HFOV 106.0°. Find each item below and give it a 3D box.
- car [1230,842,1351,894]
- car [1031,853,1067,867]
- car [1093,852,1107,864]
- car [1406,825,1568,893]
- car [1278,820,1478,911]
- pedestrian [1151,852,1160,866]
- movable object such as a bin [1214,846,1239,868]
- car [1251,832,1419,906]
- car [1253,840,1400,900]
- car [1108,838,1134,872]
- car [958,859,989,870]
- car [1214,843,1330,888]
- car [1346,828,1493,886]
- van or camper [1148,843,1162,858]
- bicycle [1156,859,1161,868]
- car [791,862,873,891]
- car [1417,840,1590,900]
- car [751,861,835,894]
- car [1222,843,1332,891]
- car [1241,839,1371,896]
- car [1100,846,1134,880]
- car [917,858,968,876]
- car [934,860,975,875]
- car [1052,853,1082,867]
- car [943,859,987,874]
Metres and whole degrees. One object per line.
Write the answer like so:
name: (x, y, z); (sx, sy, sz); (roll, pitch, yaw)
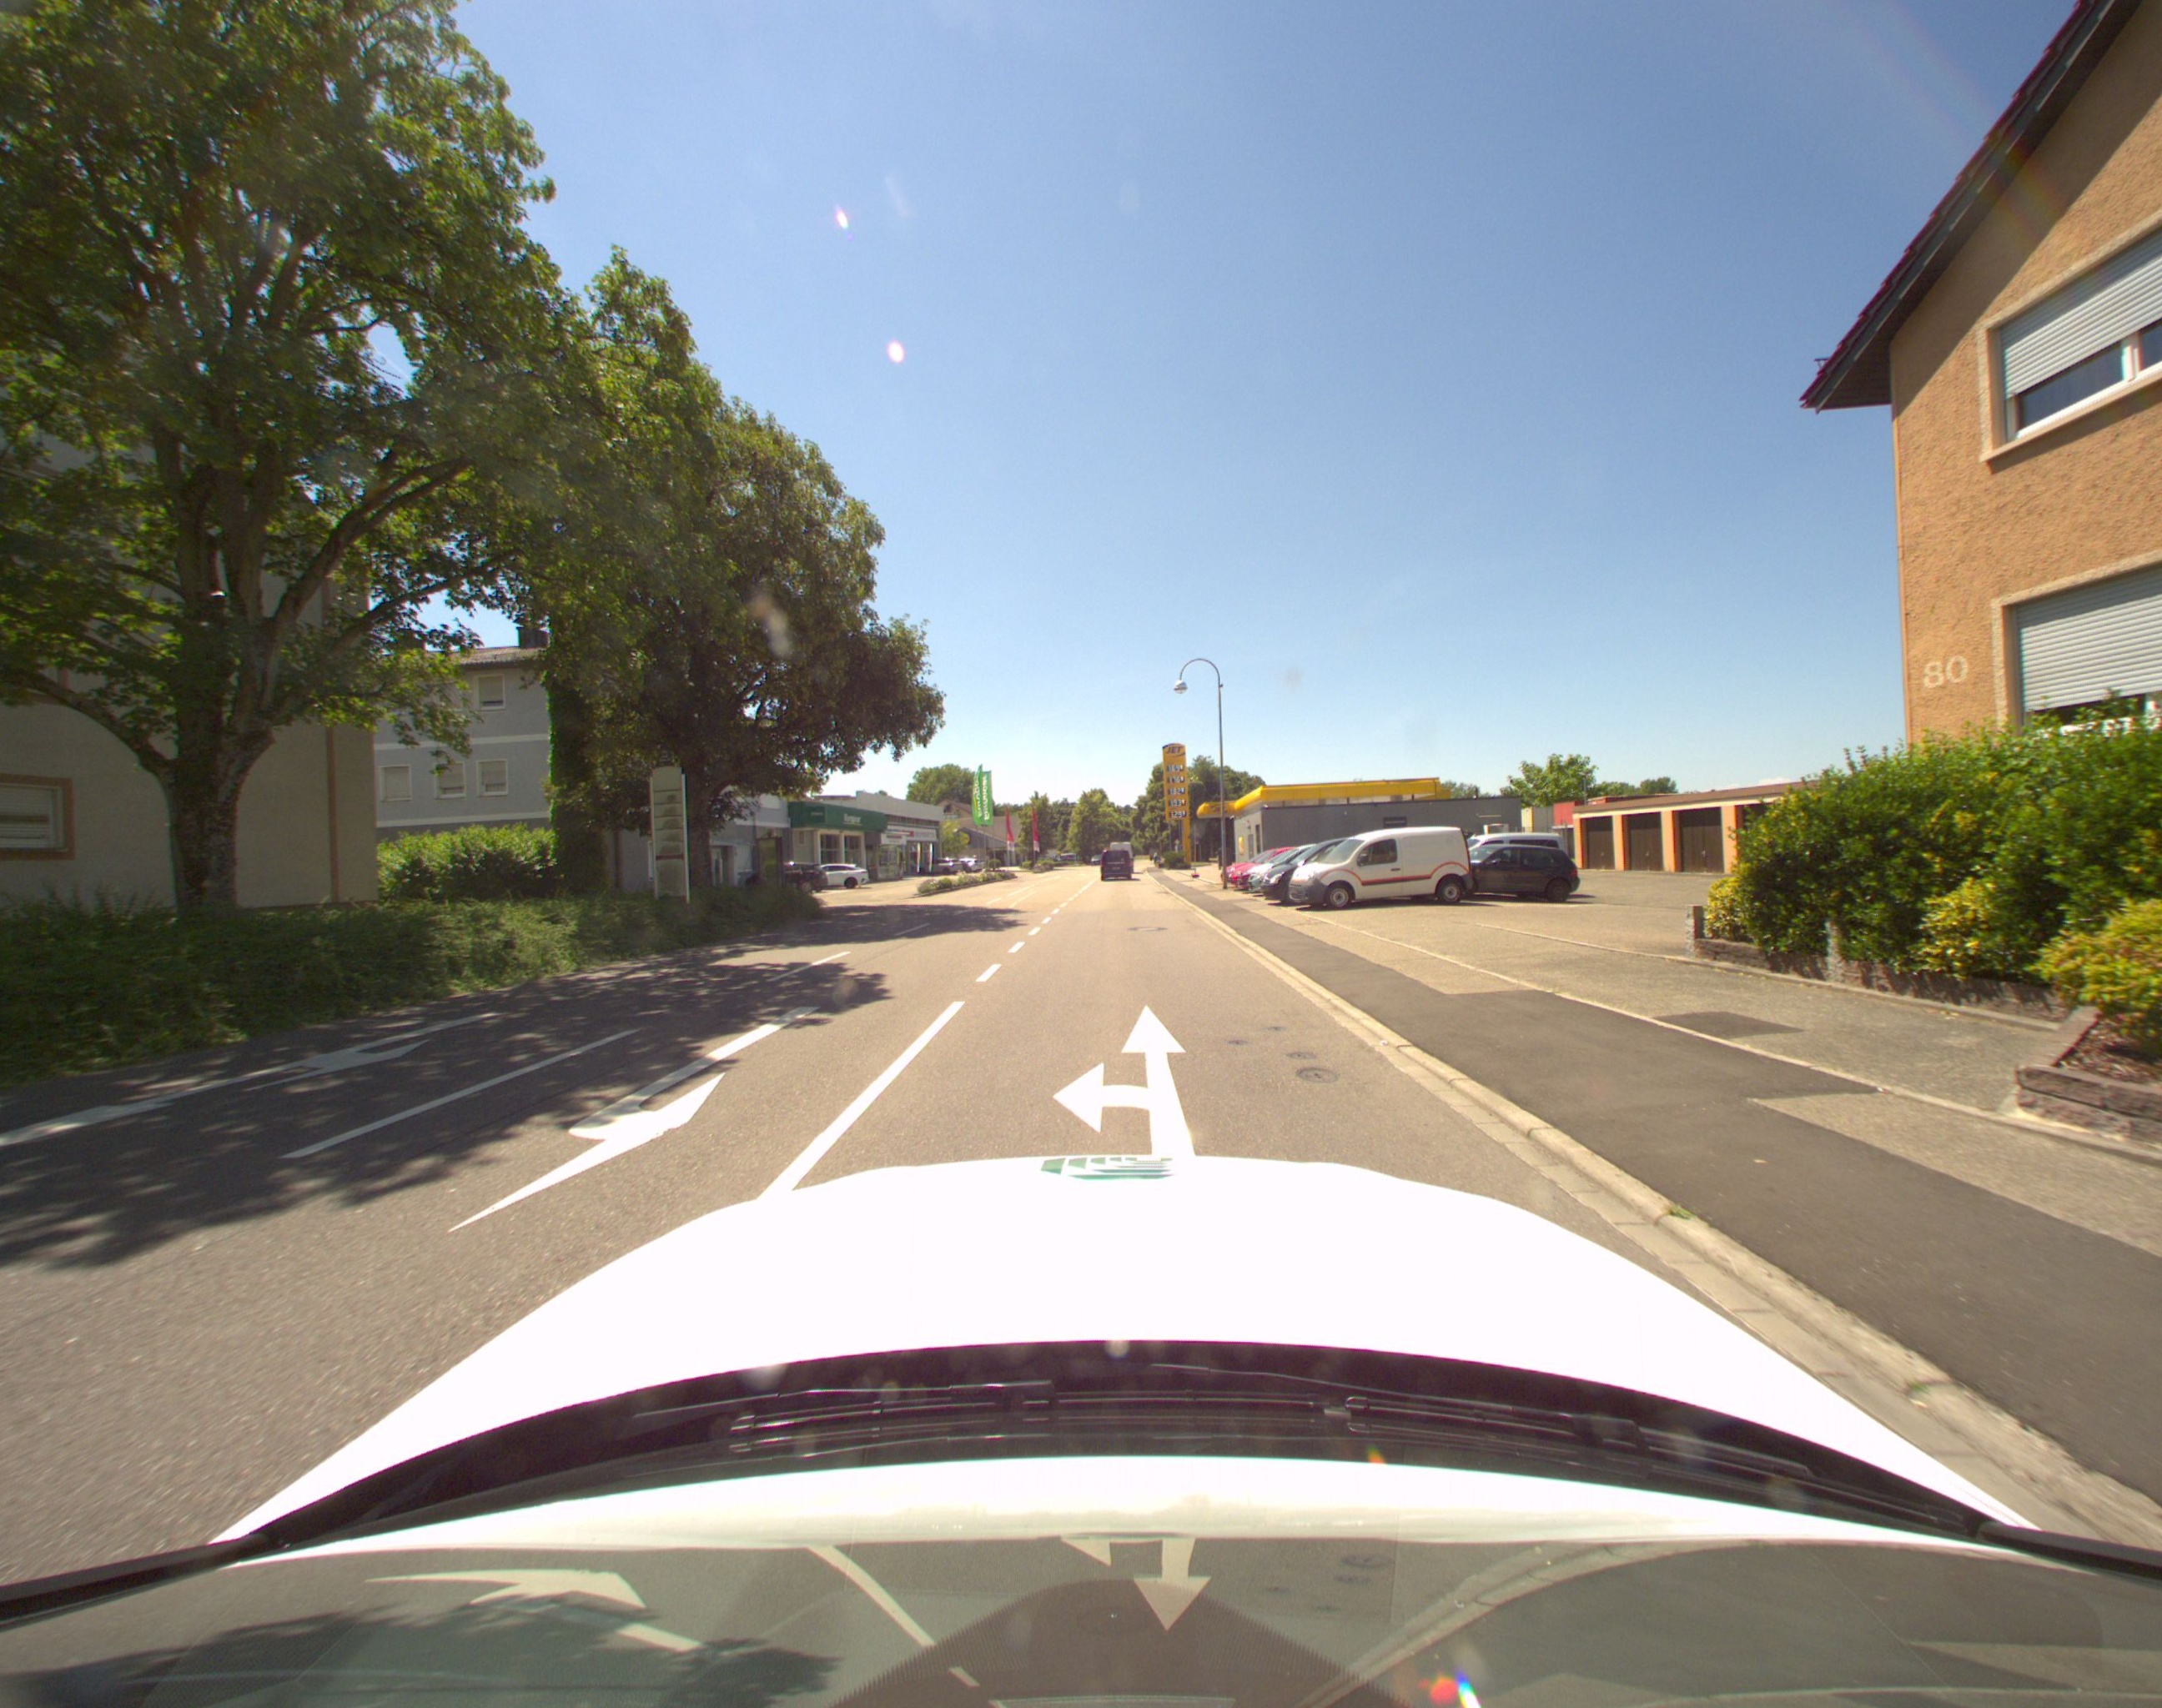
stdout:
car: (7.242, 0.461, 28.384); (3.674, 1.566, 1.749); (-3, 0, -2)
car: (-4.487, 0.869, 113.770); (4.677, 1.762, 2.105); (-1, -1, 11)
car: (2.711, 0.564, 114.300); (1.755, 1.527, 4.141); (-3, 0, 3)
car: (11.685, 0.131, 23.638); (3.876, 1.838, 1.690); (1, 0, 3)
car: (7.080, 0.256, 19.671); (4.125, 1.938, 1.806); (-2, 0, -3)
pedestrian: (7.826, 0.552, 85.619); (0.764, 1.421, 0.870); (-2, 0, 11)
movable object such as a bin: (10.077, 0.203, 56.411); (1.428, 1.438, 1.469); (-4, 0, 3)
car: (6.705, 0.374, 21.778); (3.863, 1.680, 1.763); (-3, 0, -1)
car: (7.146, 0.446, 24.028); (3.776, 1.509, 1.835); (-3, 0, 3)
car: (3.330, 0.078, 67.973); (2.069, 2.702, 4.670); (0, 0, 3)
car: (-15.957, 1.574, 120.732); (4.294, 1.530, 1.829); (-2, 0, 3)
car: (7.701, 0.449, 33.150); (4.209, 1.534, 1.959); (-3, 0, 1)
car: (11.804, 0.091, 28.594); (4.326, 1.896, 1.971); (1, 0, -1)
van or camper: (14.988, -0.622, 165.523); (2.620, 2.929, 5.211); (-1, -1, 3)
bicycle: (8.158, 0.959, 85.504); (0.375, 0.912, 1.603); (-2, 0, 11)
car: (-14.079, 1.256, 46.062); (4.355, 1.439, 1.927); (-2, 0, -20)
car: (11.118, 0.407, 21.611); (3.597, 1.468, 1.947); (1, 0, -3)
car: (-14.877, 1.189, 42.217); (3.546, 1.565, 1.971); (-2, 0, 2)
car: (7.348, 0.462, 30.690); (3.673, 1.566, 1.708); (-3, 0, -1)
car: (7.151, 0.424, 26.116); (3.672, 1.566, 1.642); (-3, 0, 0)
car: (2.243, 0.530, 50.104); (1.985, 1.952, 5.010); (0, 0, 4)
car: (-13.659, 1.269, 80.211); (4.491, 1.664, 2.011); (-2, 0, 21)
car: (-13.237, 1.382, 85.189); (3.594, 1.474, 2.011); (-2, 0, 21)
car: (-2.128, 0.952, 123.874); (4.336, 1.980, 1.907); (-1, -1, 4)
car: (-12.512, 1.320, 87.955); (4.149, 1.446, 1.989); (-2, 0, 19)
